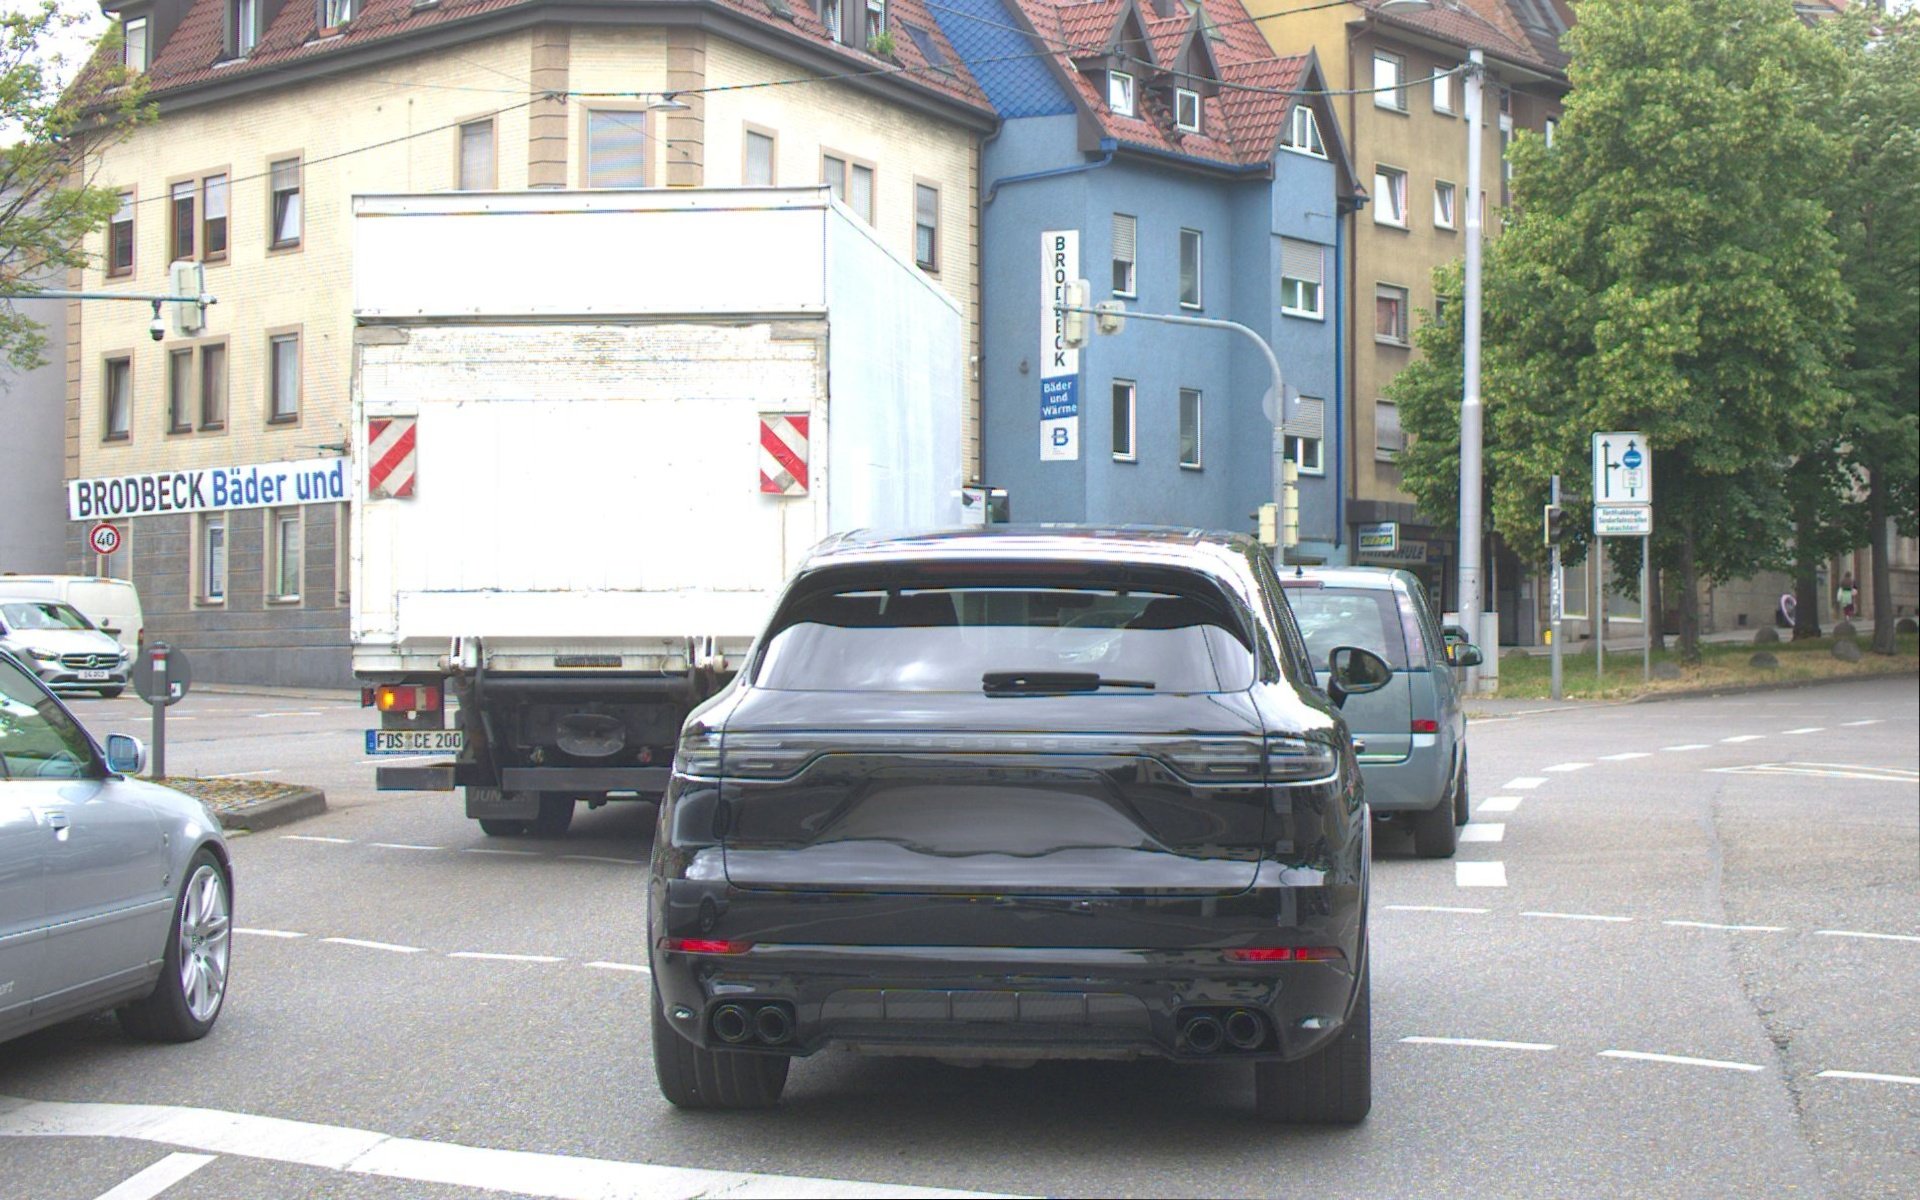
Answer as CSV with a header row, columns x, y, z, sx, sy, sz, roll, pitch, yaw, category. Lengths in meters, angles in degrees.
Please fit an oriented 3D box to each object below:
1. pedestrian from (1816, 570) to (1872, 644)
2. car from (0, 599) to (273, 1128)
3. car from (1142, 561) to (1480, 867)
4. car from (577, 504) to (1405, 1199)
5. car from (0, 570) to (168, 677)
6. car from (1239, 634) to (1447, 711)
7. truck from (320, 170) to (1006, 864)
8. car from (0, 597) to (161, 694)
x,y,z,sx,sy,sz,roll,pitch,yaw,category
24.292,0.200,94.456,1.194,2.007,0.987,1,0,34,pedestrian
-3.316,0.696,9.470,1.629,1.360,4.127,2,1,6,car
2.099,0.603,19.785,1.649,1.550,3.581,2,0,10,car
0.286,0.609,10.862,2.032,1.717,4.499,2,1,6,car
-16.019,0.385,60.271,4.332,1.793,2.060,1,1,42,car
7.395,1.393,66.007,1.874,1.411,4.688,-1,-1,37,car
-1.485,-0.462,21.837,2.726,3.532,8.419,1,0,6,truck
-14.445,0.705,53.912,3.973,1.464,1.876,0,-1,45,car
